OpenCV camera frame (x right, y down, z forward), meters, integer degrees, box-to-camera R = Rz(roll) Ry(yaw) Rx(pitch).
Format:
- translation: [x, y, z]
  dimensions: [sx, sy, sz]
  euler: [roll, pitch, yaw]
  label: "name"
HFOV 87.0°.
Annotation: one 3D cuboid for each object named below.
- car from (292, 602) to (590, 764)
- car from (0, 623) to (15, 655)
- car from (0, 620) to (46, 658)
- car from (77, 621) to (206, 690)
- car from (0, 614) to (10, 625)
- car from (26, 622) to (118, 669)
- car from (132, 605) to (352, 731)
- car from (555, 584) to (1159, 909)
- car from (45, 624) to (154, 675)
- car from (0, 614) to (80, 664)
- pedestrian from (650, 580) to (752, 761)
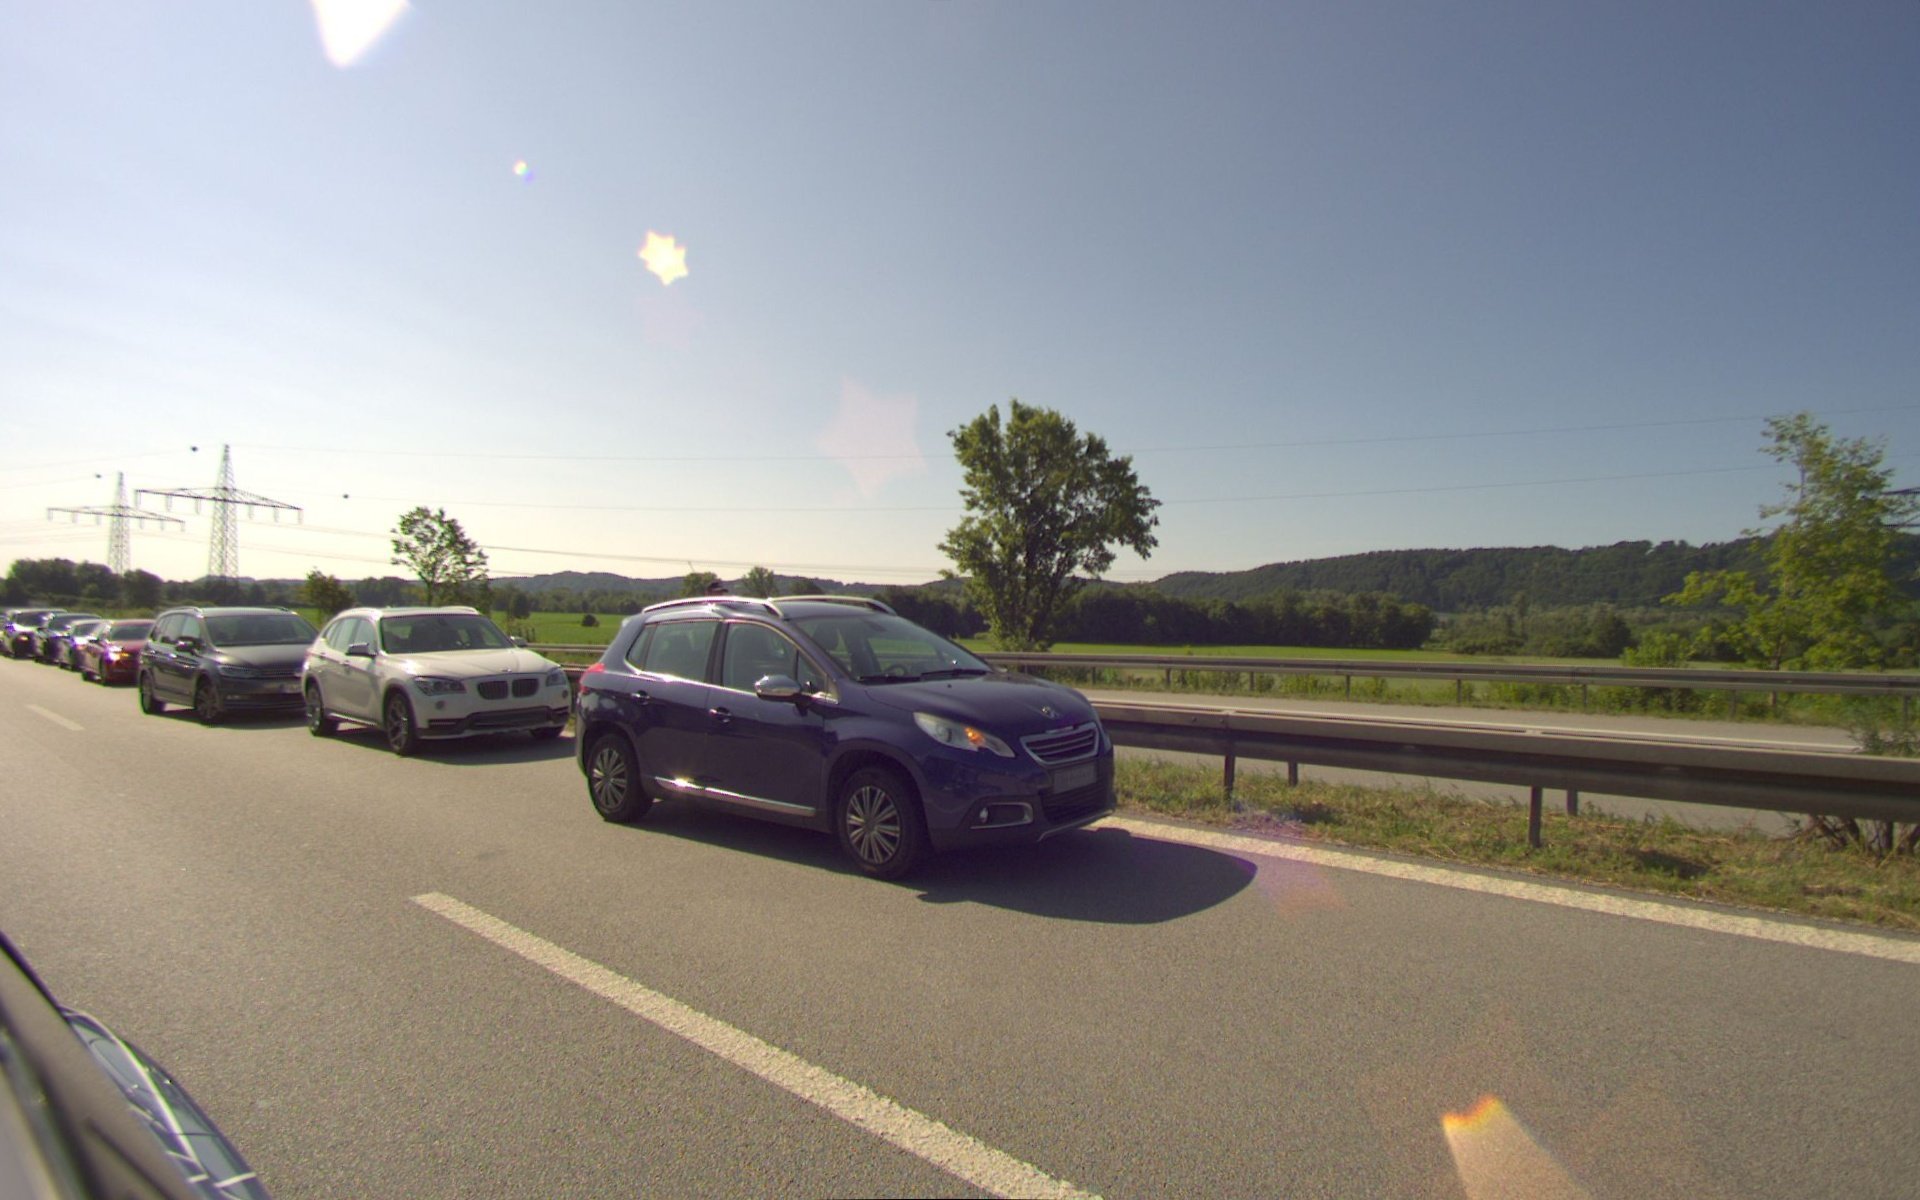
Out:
- translation: [-6.240, 0.853, 11.962]
  dimensions: [4.163, 1.586, 1.808]
  euler: [-1, -1, 42]
  label: "car"
- translation: [-47.531, 1.894, 49.179]
  dimensions: [3.998, 1.542, 1.973]
  euler: [-1, -2, 41]
  label: "car"
- translation: [-40.535, 1.641, 43.073]
  dimensions: [3.998, 1.542, 1.973]
  euler: [-1, -2, 41]
  label: "car"
- translation: [-19.201, 1.246, 23.684]
  dimensions: [4.117, 1.470, 1.795]
  euler: [-1, -2, 43]
  label: "car"
- translation: [-139.108, 2.850, 146.708]
  dimensions: [4.393, 1.644, 1.838]
  euler: [-1, 0, 43]
  label: "car"
- translation: [-29.844, 1.494, 33.973]
  dimensions: [3.999, 1.466, 1.869]
  euler: [-1, -2, 42]
  label: "car"
- translation: [-10.861, 0.922, 15.212]
  dimensions: [4.115, 1.628, 1.796]
  euler: [-1, -1, 41]
  label: "car"
- translation: [-0.857, 0.723, 6.720]
  dimensions: [3.944, 1.546, 1.671]
  euler: [-1, 0, 39]
  label: "car"
- translation: [-25.383, 1.415, 29.827]
  dimensions: [3.998, 1.409, 1.870]
  euler: [-1, -2, 41]
  label: "car"
- translation: [-35.057, 1.451, 38.449]
  dimensions: [4.198, 1.801, 1.877]
  euler: [-1, -2, 41]
  label: "car"
- translation: [-2.657, 0.696, 10.381]
  dimensions: [0.814, 1.764, 0.663]
  euler: [-1, -2, 41]
  label: "pedestrian"
